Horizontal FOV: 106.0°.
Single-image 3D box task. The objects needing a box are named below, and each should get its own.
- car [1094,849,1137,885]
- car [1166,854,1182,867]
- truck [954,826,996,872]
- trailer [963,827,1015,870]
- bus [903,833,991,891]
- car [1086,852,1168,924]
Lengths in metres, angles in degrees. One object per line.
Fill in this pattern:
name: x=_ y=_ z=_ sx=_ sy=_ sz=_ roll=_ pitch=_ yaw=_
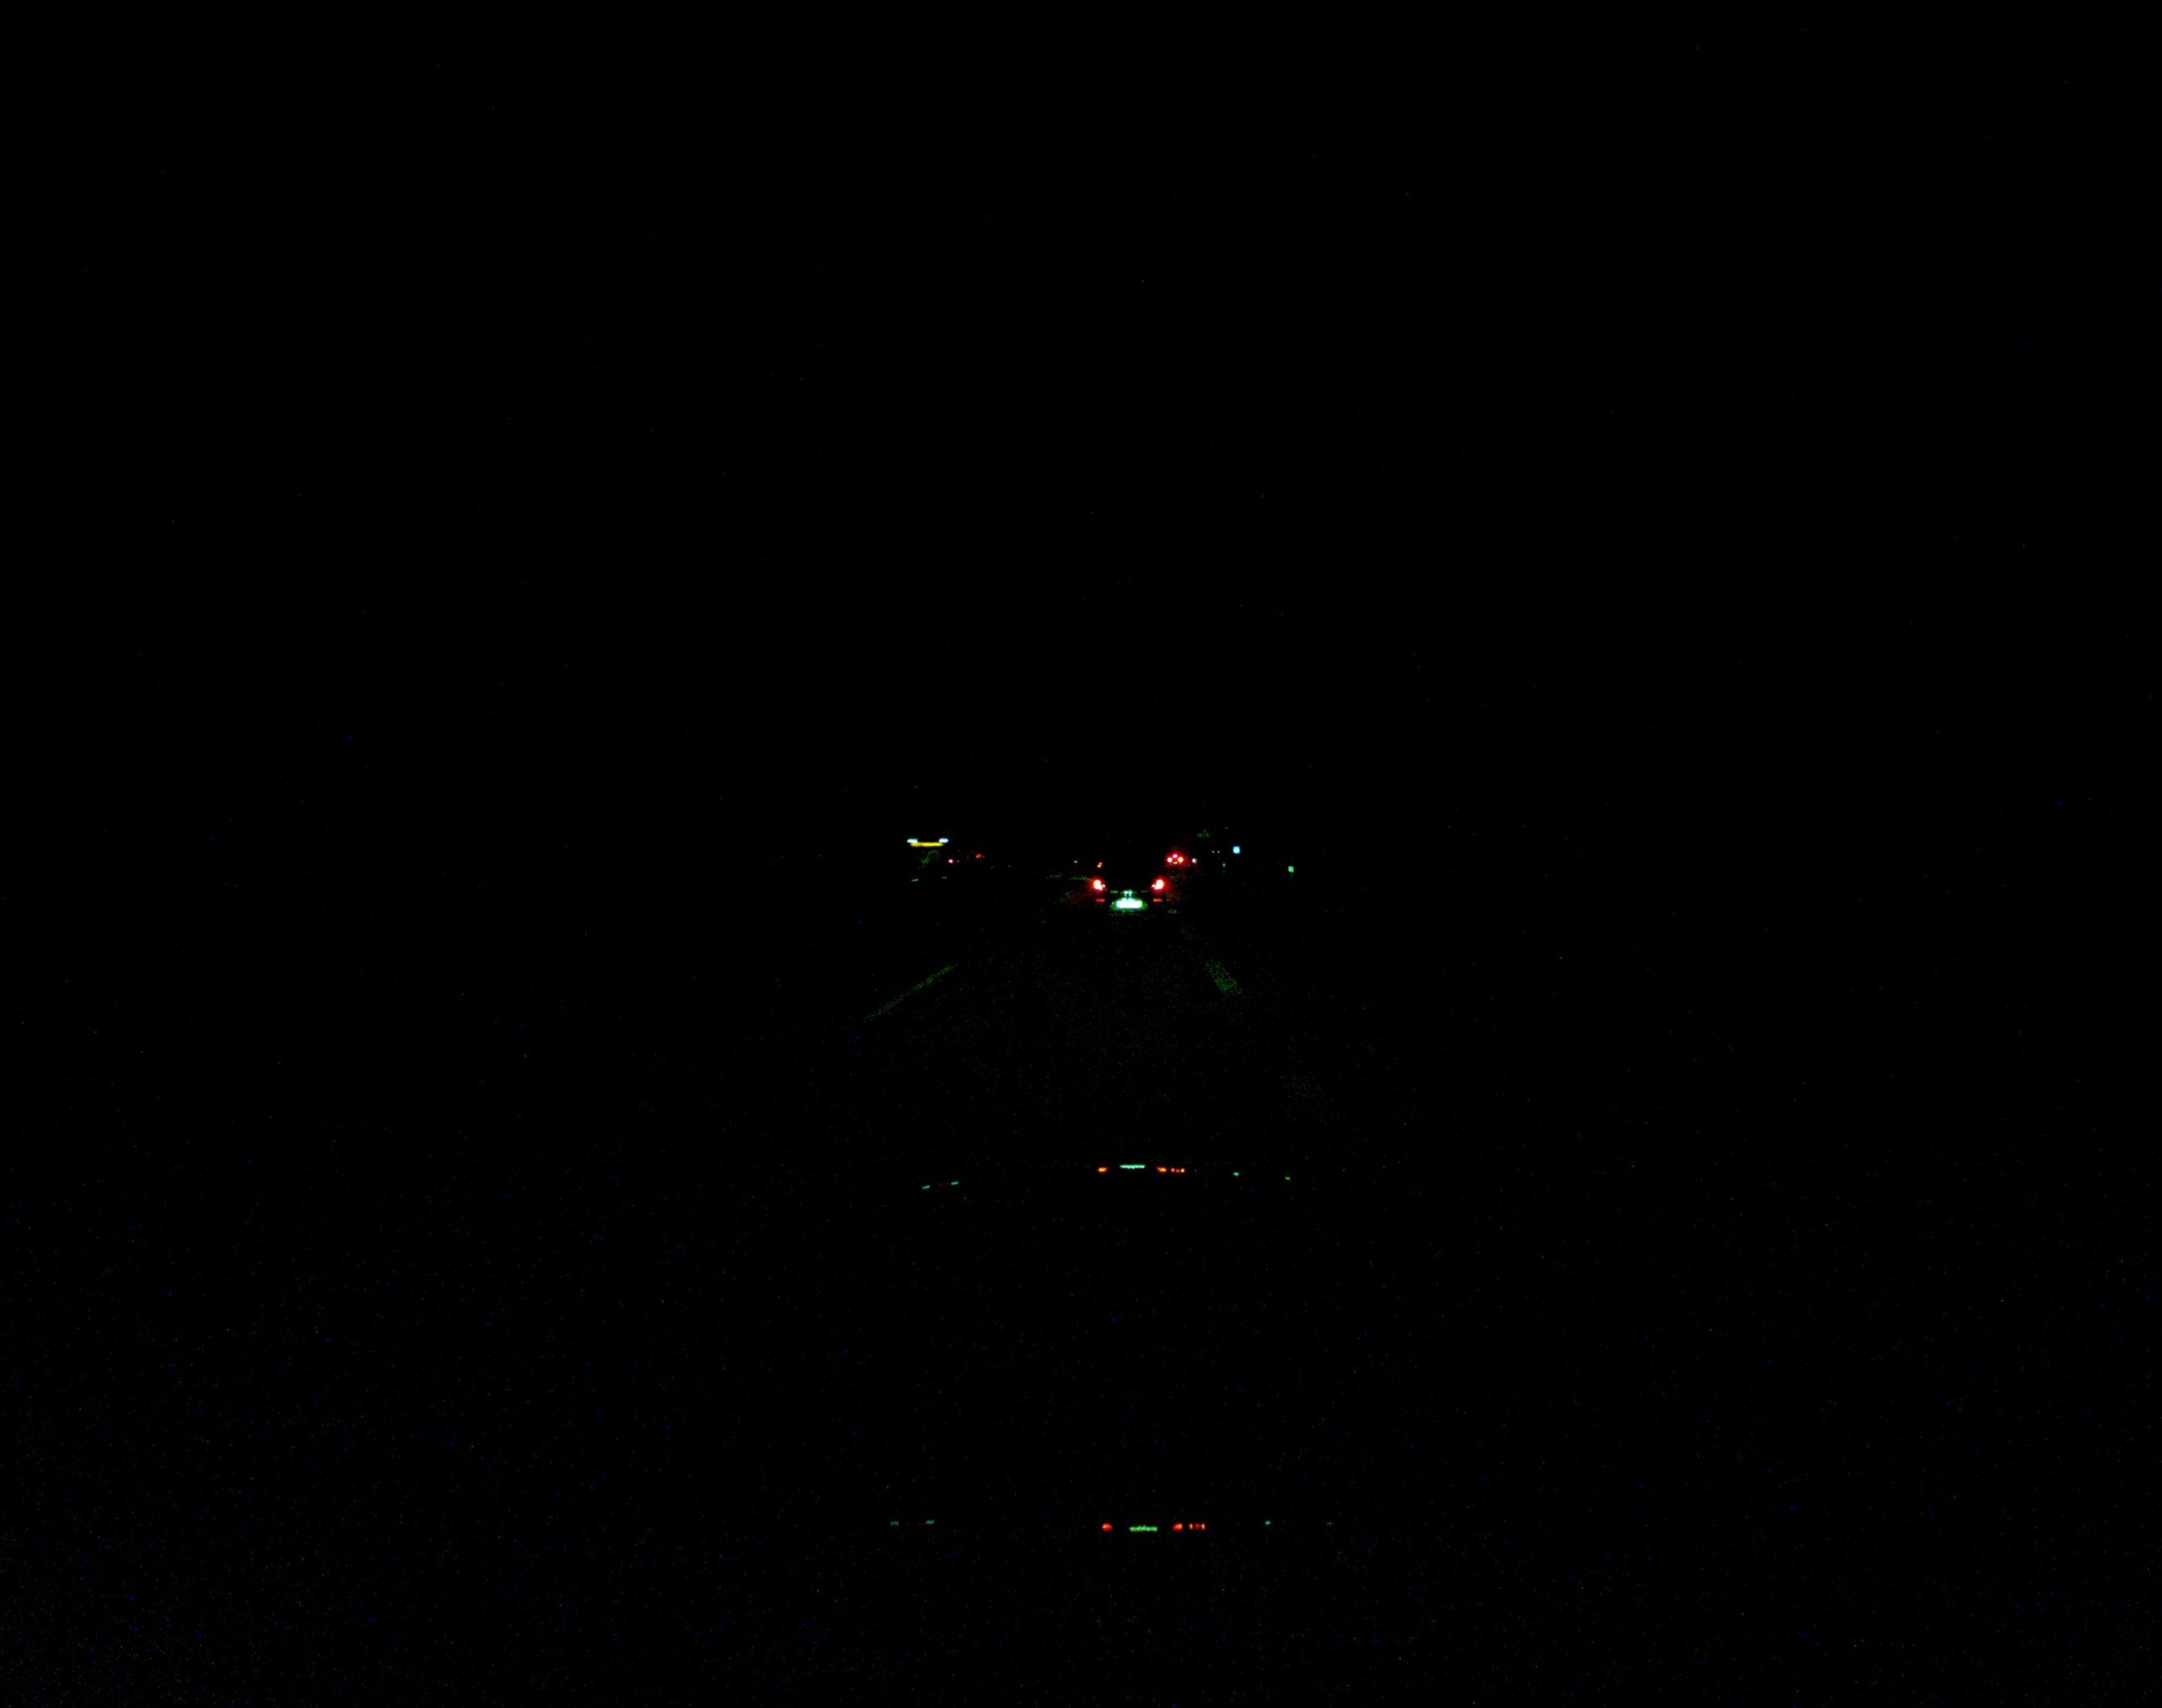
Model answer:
car: x=1.706 y=0.600 z=39.695 sx=1.932 sy=1.608 sz=4.647 roll=-1 pitch=0 yaw=3
car: x=12.045 y=0.827 z=106.051 sx=1.727 sy=1.618 sz=3.800 roll=-1 pitch=0 yaw=2
truck: x=-10.249 y=-0.502 z=79.278 sx=2.663 sy=4.177 sz=5.876 roll=-2 pitch=0 yaw=5
trailer: x=-9.561 y=-0.617 z=86.240 sx=2.663 sy=4.149 sz=13.765 roll=-2 pitch=0 yaw=5
bus: x=-8.655 y=0.383 z=54.520 sx=2.910 sy=3.387 sz=12.322 roll=-1 pitch=1 yaw=4
car: x=1.076 y=0.712 z=18.918 sx=1.684 sy=1.478 sz=4.004 roll=-1 pitch=0 yaw=3
